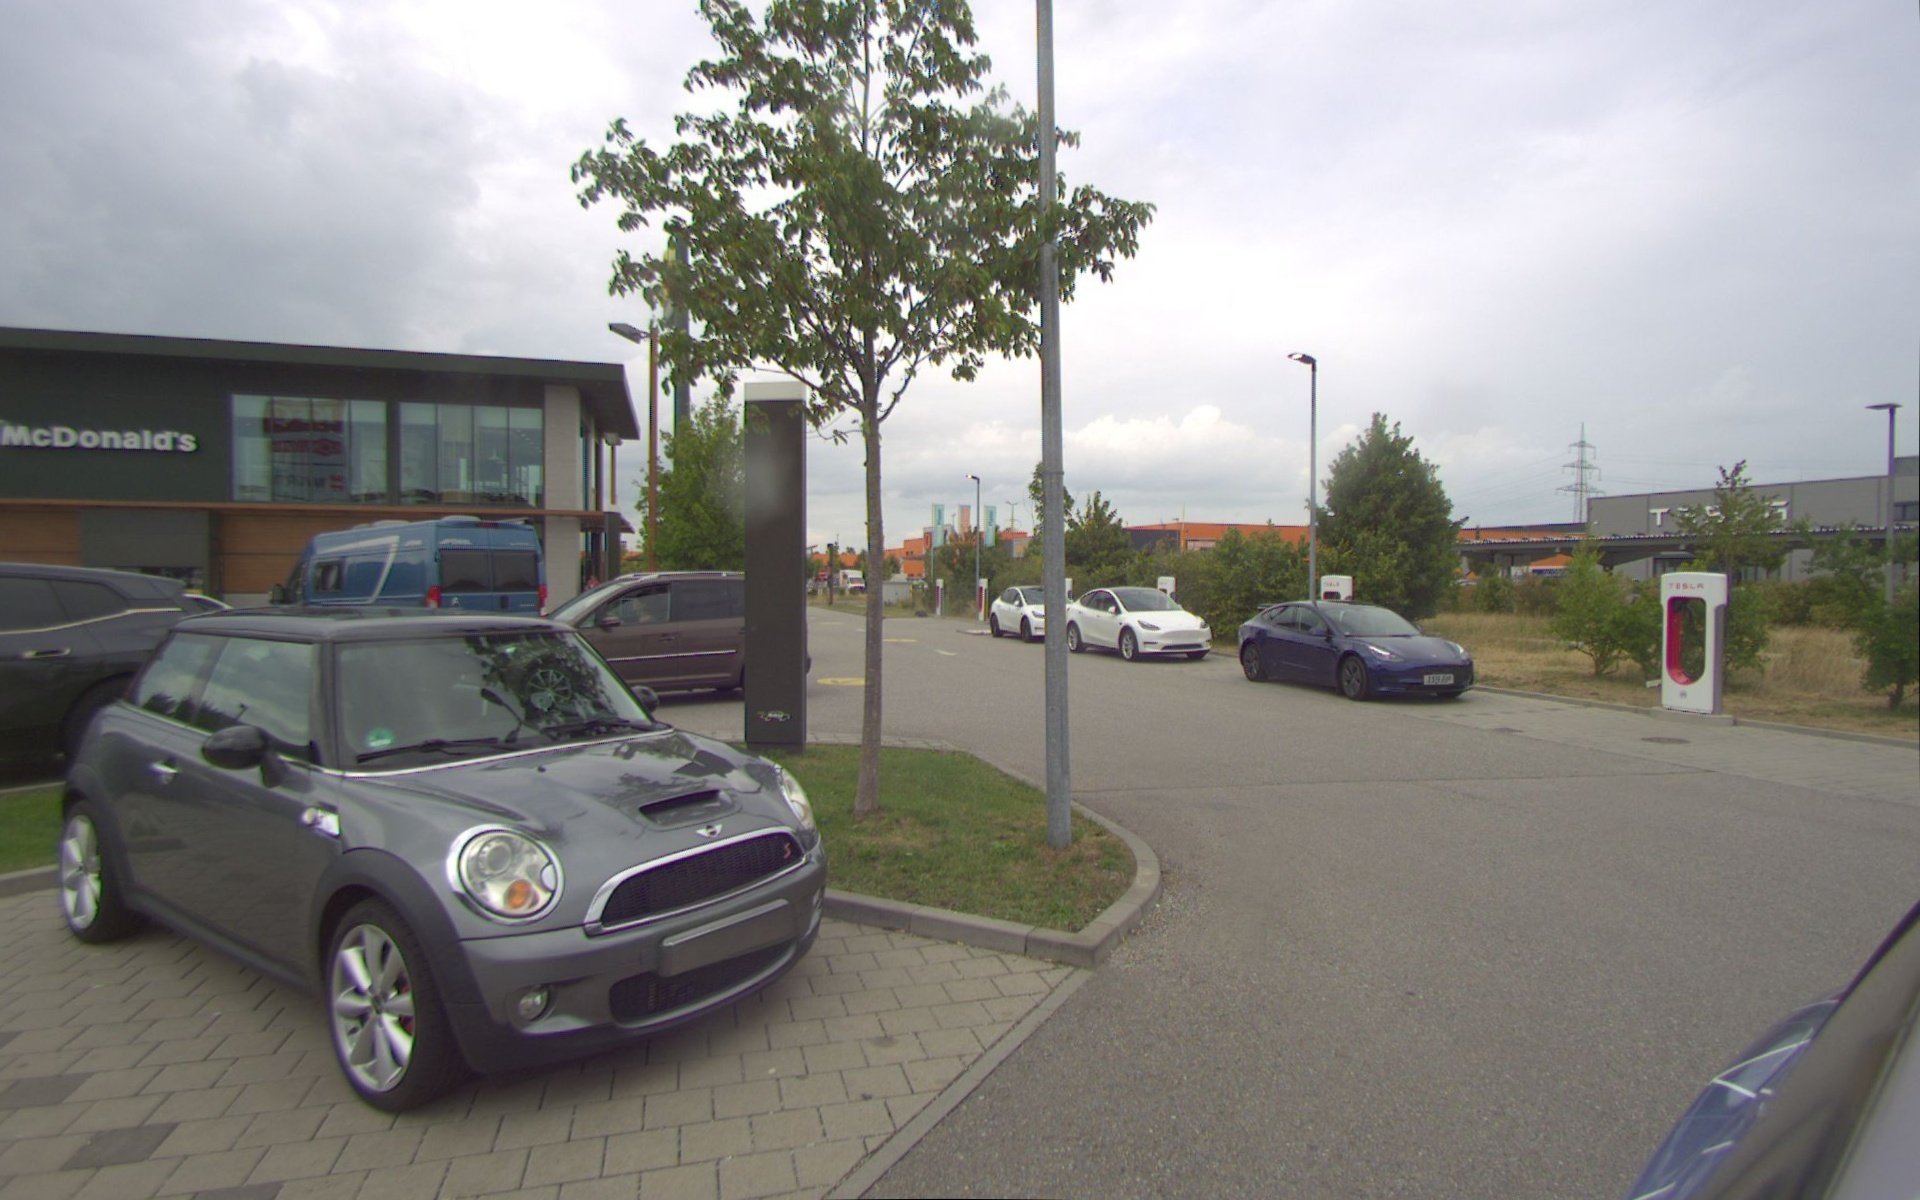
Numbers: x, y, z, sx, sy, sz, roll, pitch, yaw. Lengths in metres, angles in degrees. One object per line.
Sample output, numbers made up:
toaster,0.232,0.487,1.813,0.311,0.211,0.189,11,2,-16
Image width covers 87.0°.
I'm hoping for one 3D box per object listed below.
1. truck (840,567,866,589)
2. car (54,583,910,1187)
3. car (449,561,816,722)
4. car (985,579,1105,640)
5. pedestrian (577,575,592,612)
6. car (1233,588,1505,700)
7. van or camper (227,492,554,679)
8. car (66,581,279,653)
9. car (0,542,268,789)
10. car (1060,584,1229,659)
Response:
truck,-12.994,-2.676,122.084,2.103,2.479,5.473,2,1,-16
car,-2.092,0.688,4.144,3.503,1.393,1.590,3,1,34
car,-4.109,0.383,12.945,4.111,1.710,1.812,-2,3,-34
car,2.459,0.228,30.727,2.029,1.621,4.956,0,2,-15
pedestrian,-13.768,-0.231,37.109,0.424,1.327,0.482,2,1,-14
car,6.372,0.585,16.427,1.795,1.477,4.466,0,2,-14
van or camper,-9.969,-0.200,17.475,6.524,2.735,2.147,0,0,33
car,-20.028,0.353,25.953,1.771,1.504,3.971,2,4,23
car,-7.944,0.452,7.042,1.979,1.749,4.854,1,1,25
car,4.196,0.422,23.875,2.029,1.573,4.488,0,1,-18
